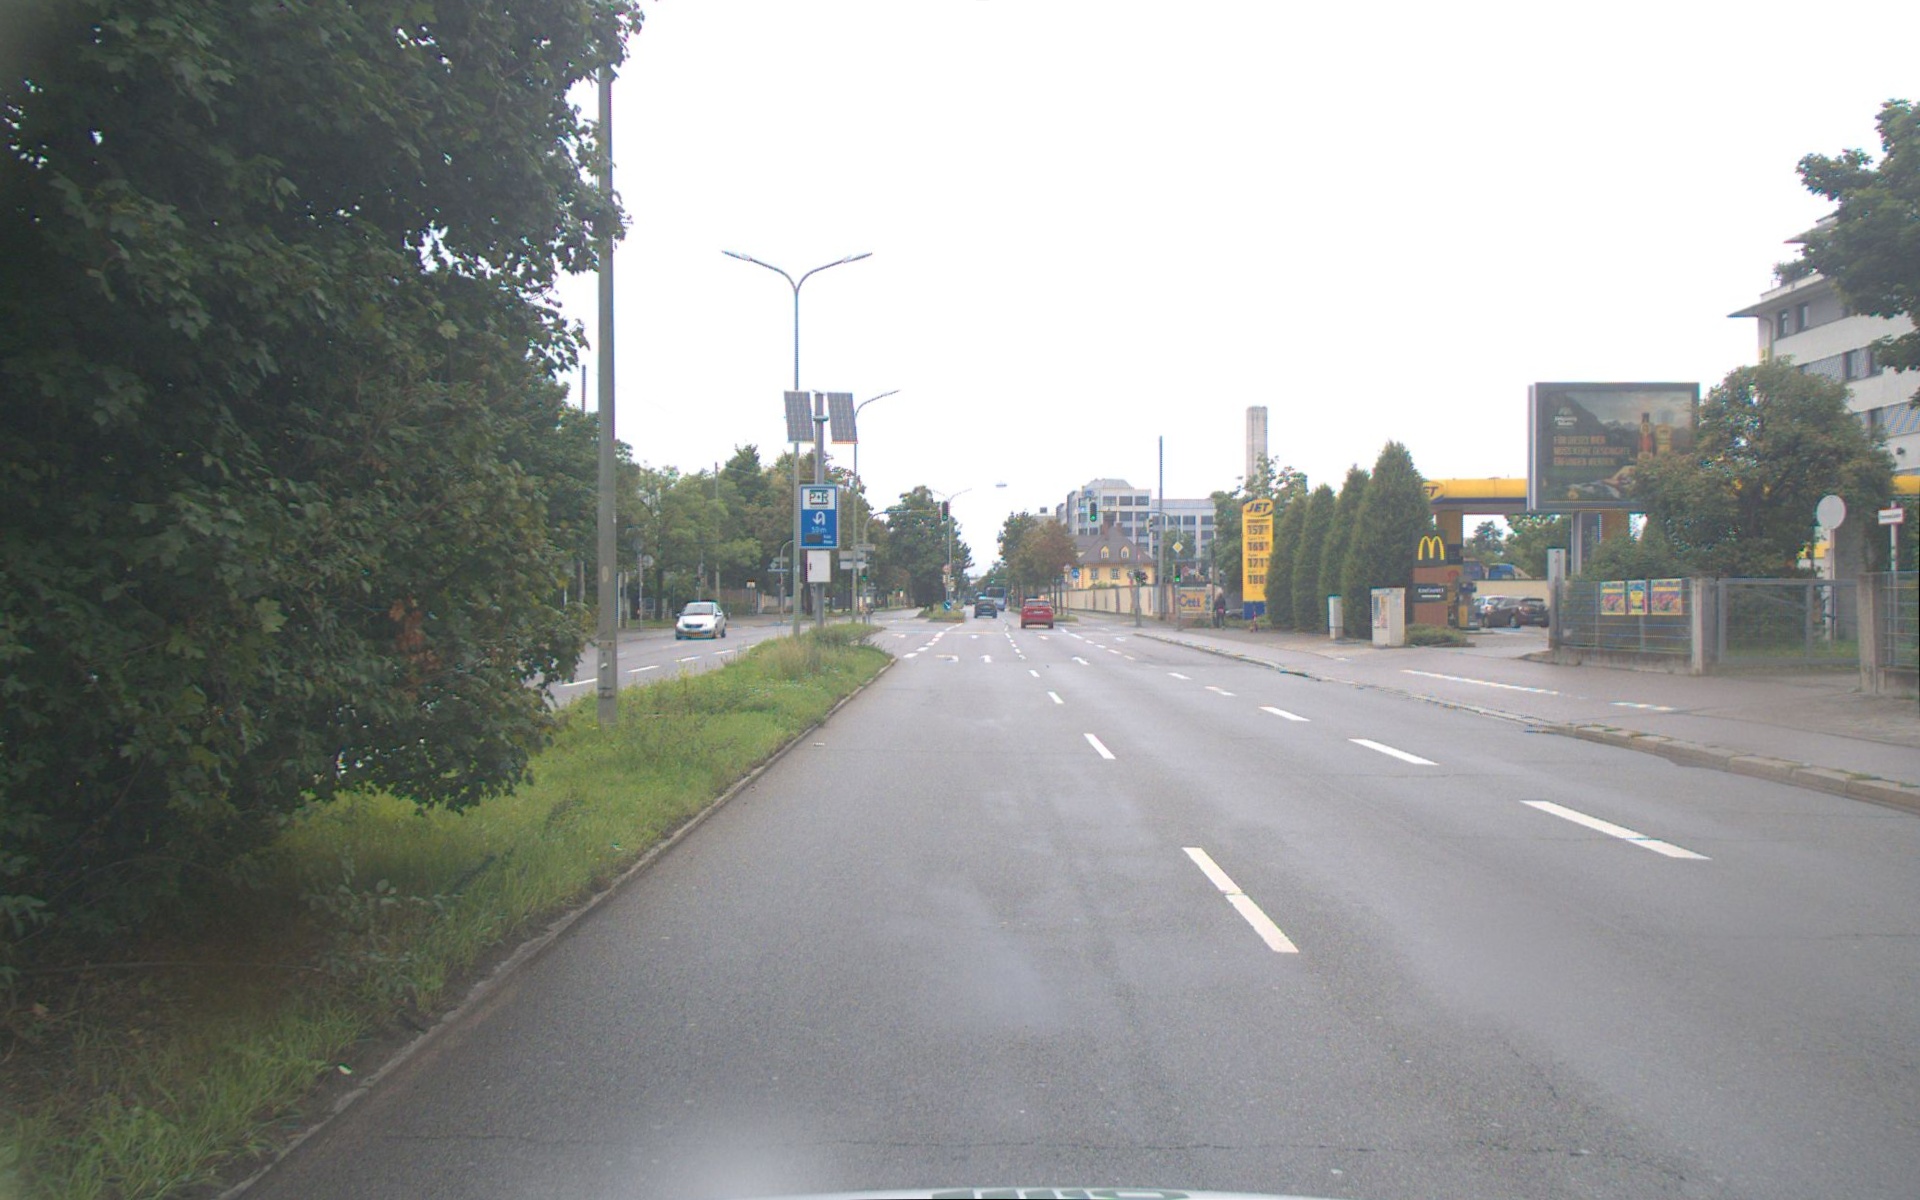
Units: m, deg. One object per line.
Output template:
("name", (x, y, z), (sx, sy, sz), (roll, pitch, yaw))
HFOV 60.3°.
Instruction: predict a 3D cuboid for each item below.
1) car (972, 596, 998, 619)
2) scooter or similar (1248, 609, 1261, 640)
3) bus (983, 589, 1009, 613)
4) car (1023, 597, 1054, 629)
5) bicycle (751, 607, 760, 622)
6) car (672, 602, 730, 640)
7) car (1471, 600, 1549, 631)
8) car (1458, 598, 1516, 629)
("car", (2.103, 0.614, 139.514), (2.042, 1.898, 4.385), (1, 0, -1))
("scooter or similar", (12.233, 0.998, 68.656), (0.348, 1.264, 1.546), (-3, -1, 5))
("bus", (4.821, 0.157, 222.934), (3.155, 3.181, 10.342), (1, 0, -1))
("car", (4.326, 0.720, 91.561), (1.454, 1.746, 3.550), (1, 0, -1))
("bicycle", (-17.611, 1.252, 142.635), (0.570, 1.318, 2.453), (1, 0, -2))
("car", (-11.348, 0.900, 72.776), (1.777, 1.585, 4.027), (-1, 0, 1))
("car", (26.279, 0.730, 79.175), (1.667, 1.408, 4.354), (1, 0, -9))
("car", (27.061, 0.697, 84.994), (1.590, 1.512, 3.977), (1, 0, -2))
